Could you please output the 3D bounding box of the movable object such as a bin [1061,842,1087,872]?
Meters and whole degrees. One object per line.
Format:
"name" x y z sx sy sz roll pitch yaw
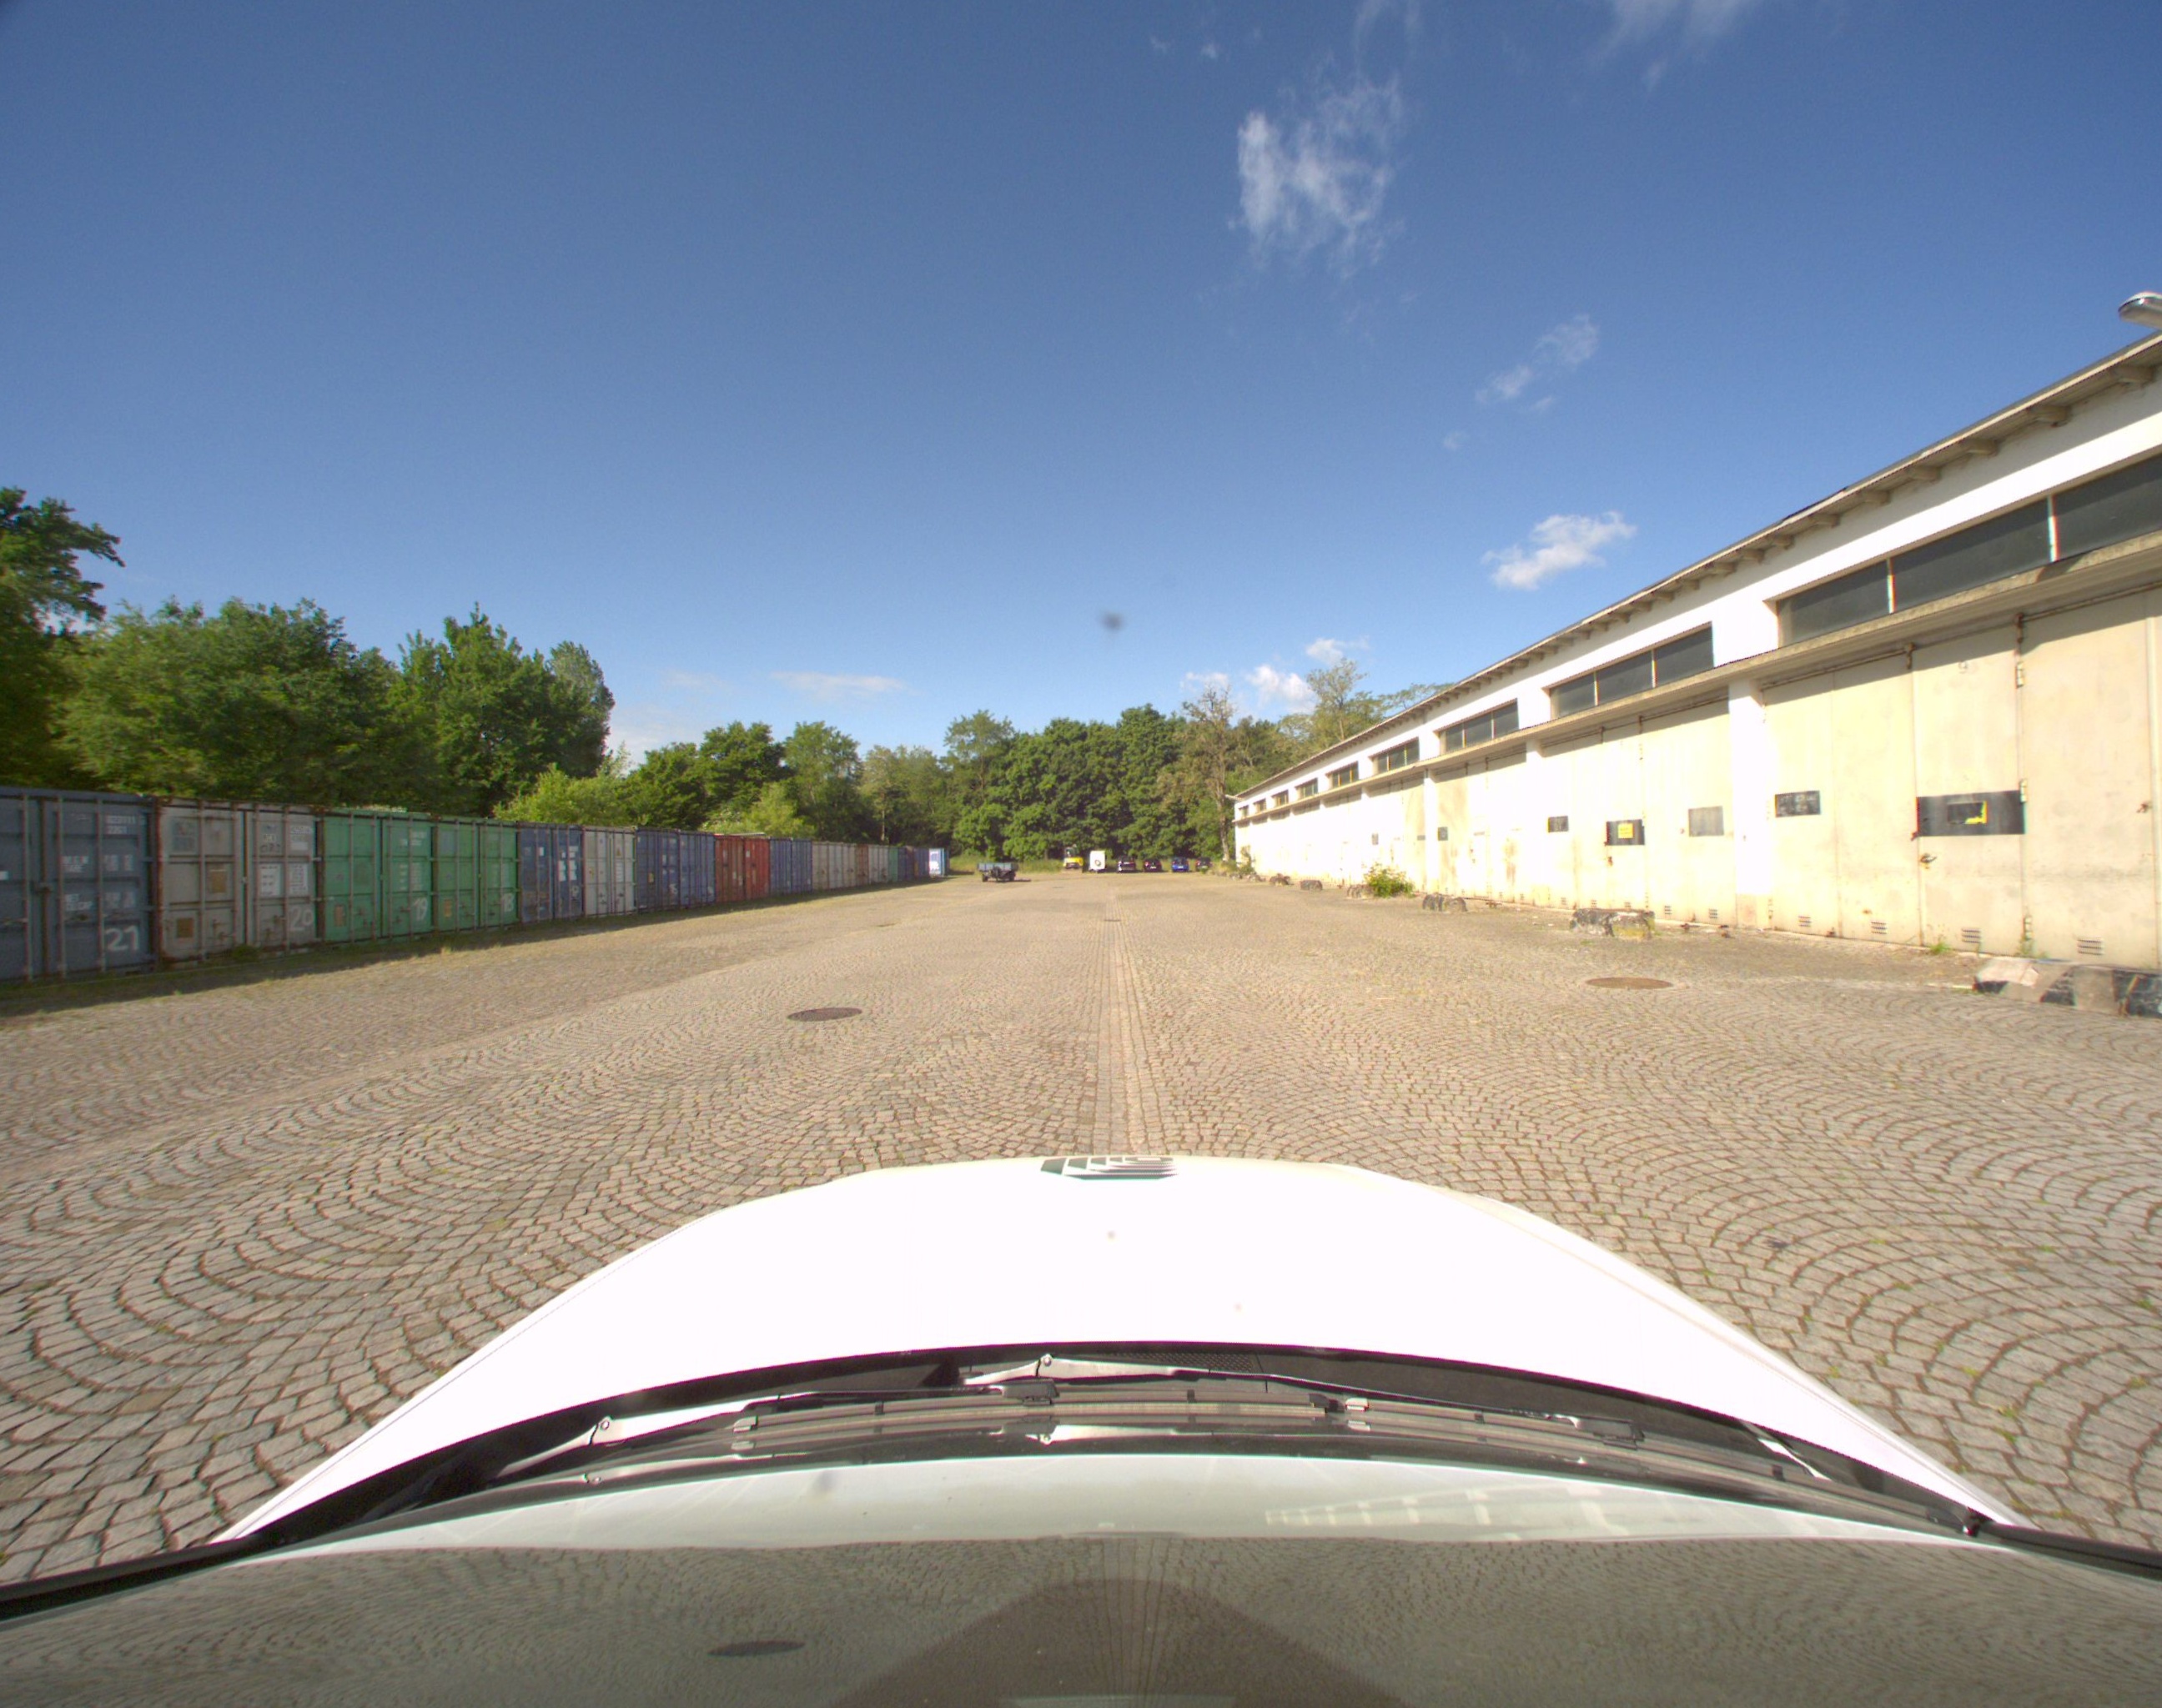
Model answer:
"movable object such as a bin" -0.648 0.242 80.911 2.297 2.896 5.755 0 1 3

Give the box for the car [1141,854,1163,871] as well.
"car" 6.824 0.820 78.137 1.857 1.470 4.297 0 1 2

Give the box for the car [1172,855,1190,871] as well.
"car" 9.580 0.807 78.016 1.735 1.436 4.191 0 1 7

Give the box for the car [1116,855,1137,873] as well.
"car" 4.330 0.888 77.824 1.857 1.589 4.297 0 1 2

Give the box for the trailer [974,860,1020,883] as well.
"trailer" -6.148 1.251 60.326 2.696 1.465 6.247 0 0 0

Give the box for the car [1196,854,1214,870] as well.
"car" 12.071 0.792 79.372 1.734 1.436 4.193 0 1 9

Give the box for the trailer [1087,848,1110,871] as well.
"trailer" 1.710 0.509 80.263 2.185 2.094 5.753 0 1 2
